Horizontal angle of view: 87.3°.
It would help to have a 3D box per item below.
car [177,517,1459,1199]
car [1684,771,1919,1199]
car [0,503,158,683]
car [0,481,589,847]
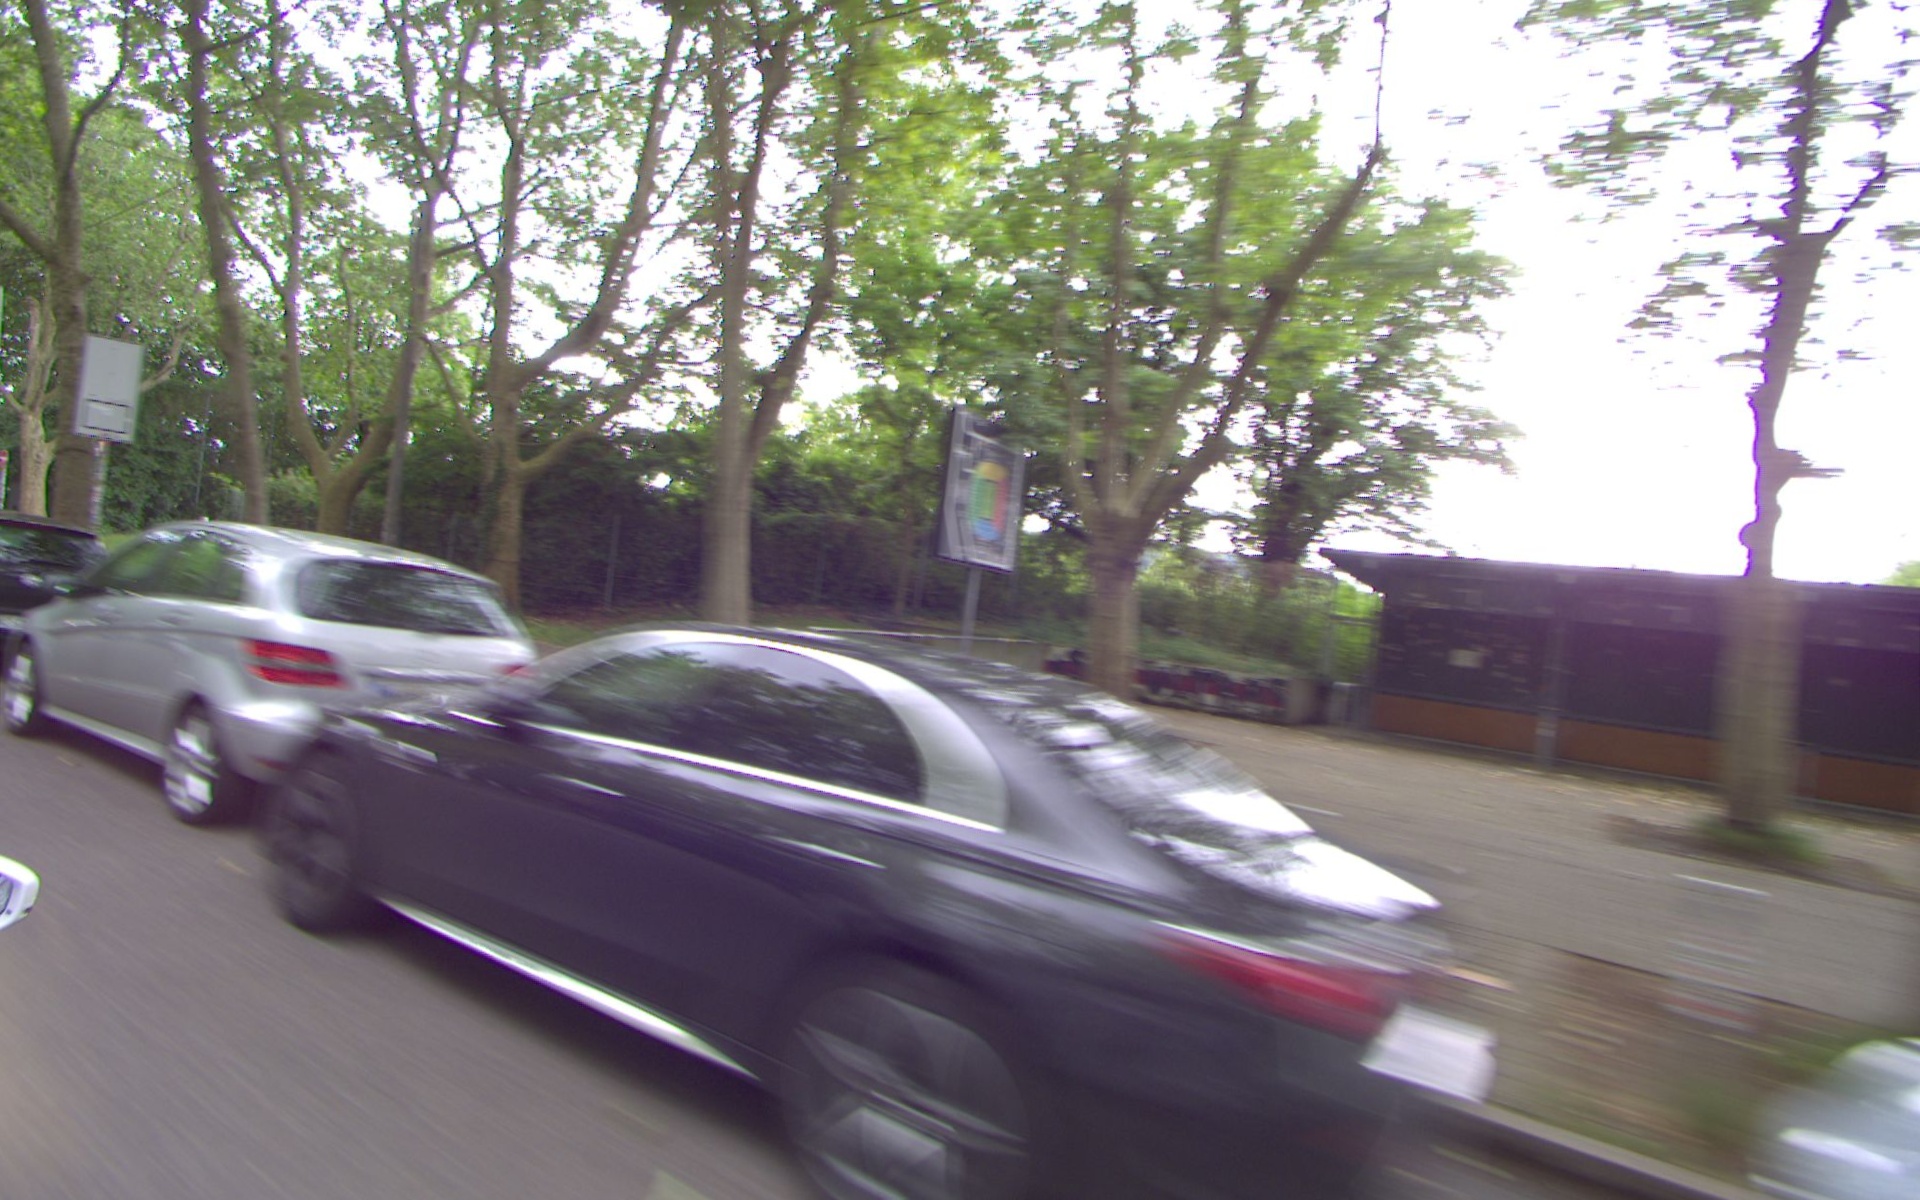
[{"bbox_3d":[-0.923,0.711,3.954,4.901,1.493,1.734,7,-3,33],"label":"car"},{"bbox_3d":[3.594,1.346,1.369,4.013,1.437,1.734,7,-3,33],"label":"car"},{"bbox_3d":[-9.872,-0.259,9.936,4.084,1.487,1.742,7,-3,34],"label":"car"},{"bbox_3d":[-4.665,0.284,6.723,4.155,1.635,1.783,7,-3,32],"label":"car"}]
